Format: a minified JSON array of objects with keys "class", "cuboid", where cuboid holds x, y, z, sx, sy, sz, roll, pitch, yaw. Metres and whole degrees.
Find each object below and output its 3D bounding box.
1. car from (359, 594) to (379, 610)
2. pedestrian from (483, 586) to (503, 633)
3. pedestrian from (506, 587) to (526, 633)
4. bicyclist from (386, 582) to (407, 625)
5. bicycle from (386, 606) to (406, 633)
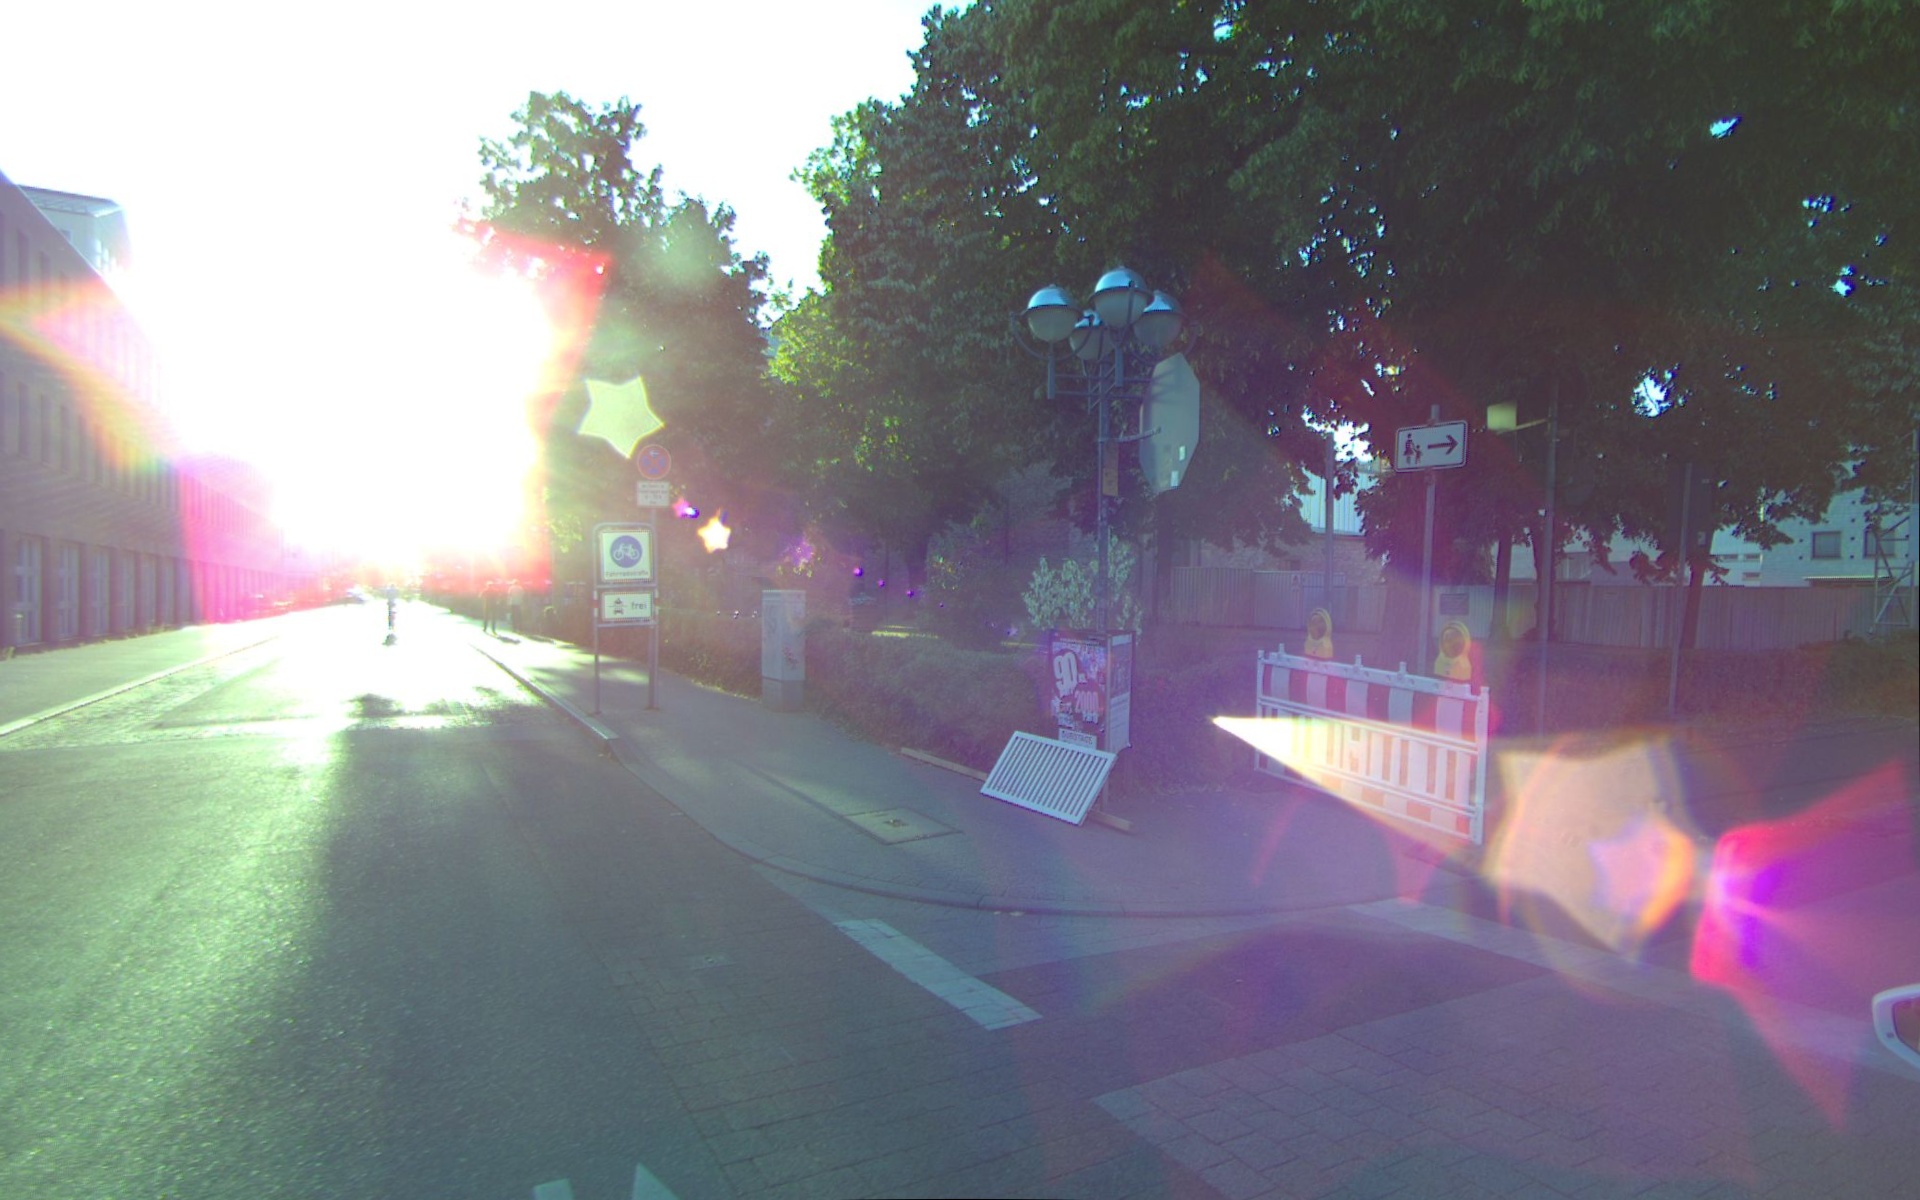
[{"class":"car","cuboid":[-74.967,0.269,127.465,1.976,2.040,3.969,0,0,-29]},{"class":"pedestrian","cuboid":[-17.144,0.342,36.852,0.646,1.715,0.747,0,0,-27]},{"class":"pedestrian","cuboid":[-16.483,0.367,37.293,0.646,1.715,0.747,0,0,-27]},{"class":"bicyclist","cuboid":[-20.484,0.128,36.518,0.621,1.572,0.672,0,0,-26]},{"class":"bicycle","cuboid":[-20.464,0.695,36.471,0.526,0.945,1.822,0,0,-26]}]
